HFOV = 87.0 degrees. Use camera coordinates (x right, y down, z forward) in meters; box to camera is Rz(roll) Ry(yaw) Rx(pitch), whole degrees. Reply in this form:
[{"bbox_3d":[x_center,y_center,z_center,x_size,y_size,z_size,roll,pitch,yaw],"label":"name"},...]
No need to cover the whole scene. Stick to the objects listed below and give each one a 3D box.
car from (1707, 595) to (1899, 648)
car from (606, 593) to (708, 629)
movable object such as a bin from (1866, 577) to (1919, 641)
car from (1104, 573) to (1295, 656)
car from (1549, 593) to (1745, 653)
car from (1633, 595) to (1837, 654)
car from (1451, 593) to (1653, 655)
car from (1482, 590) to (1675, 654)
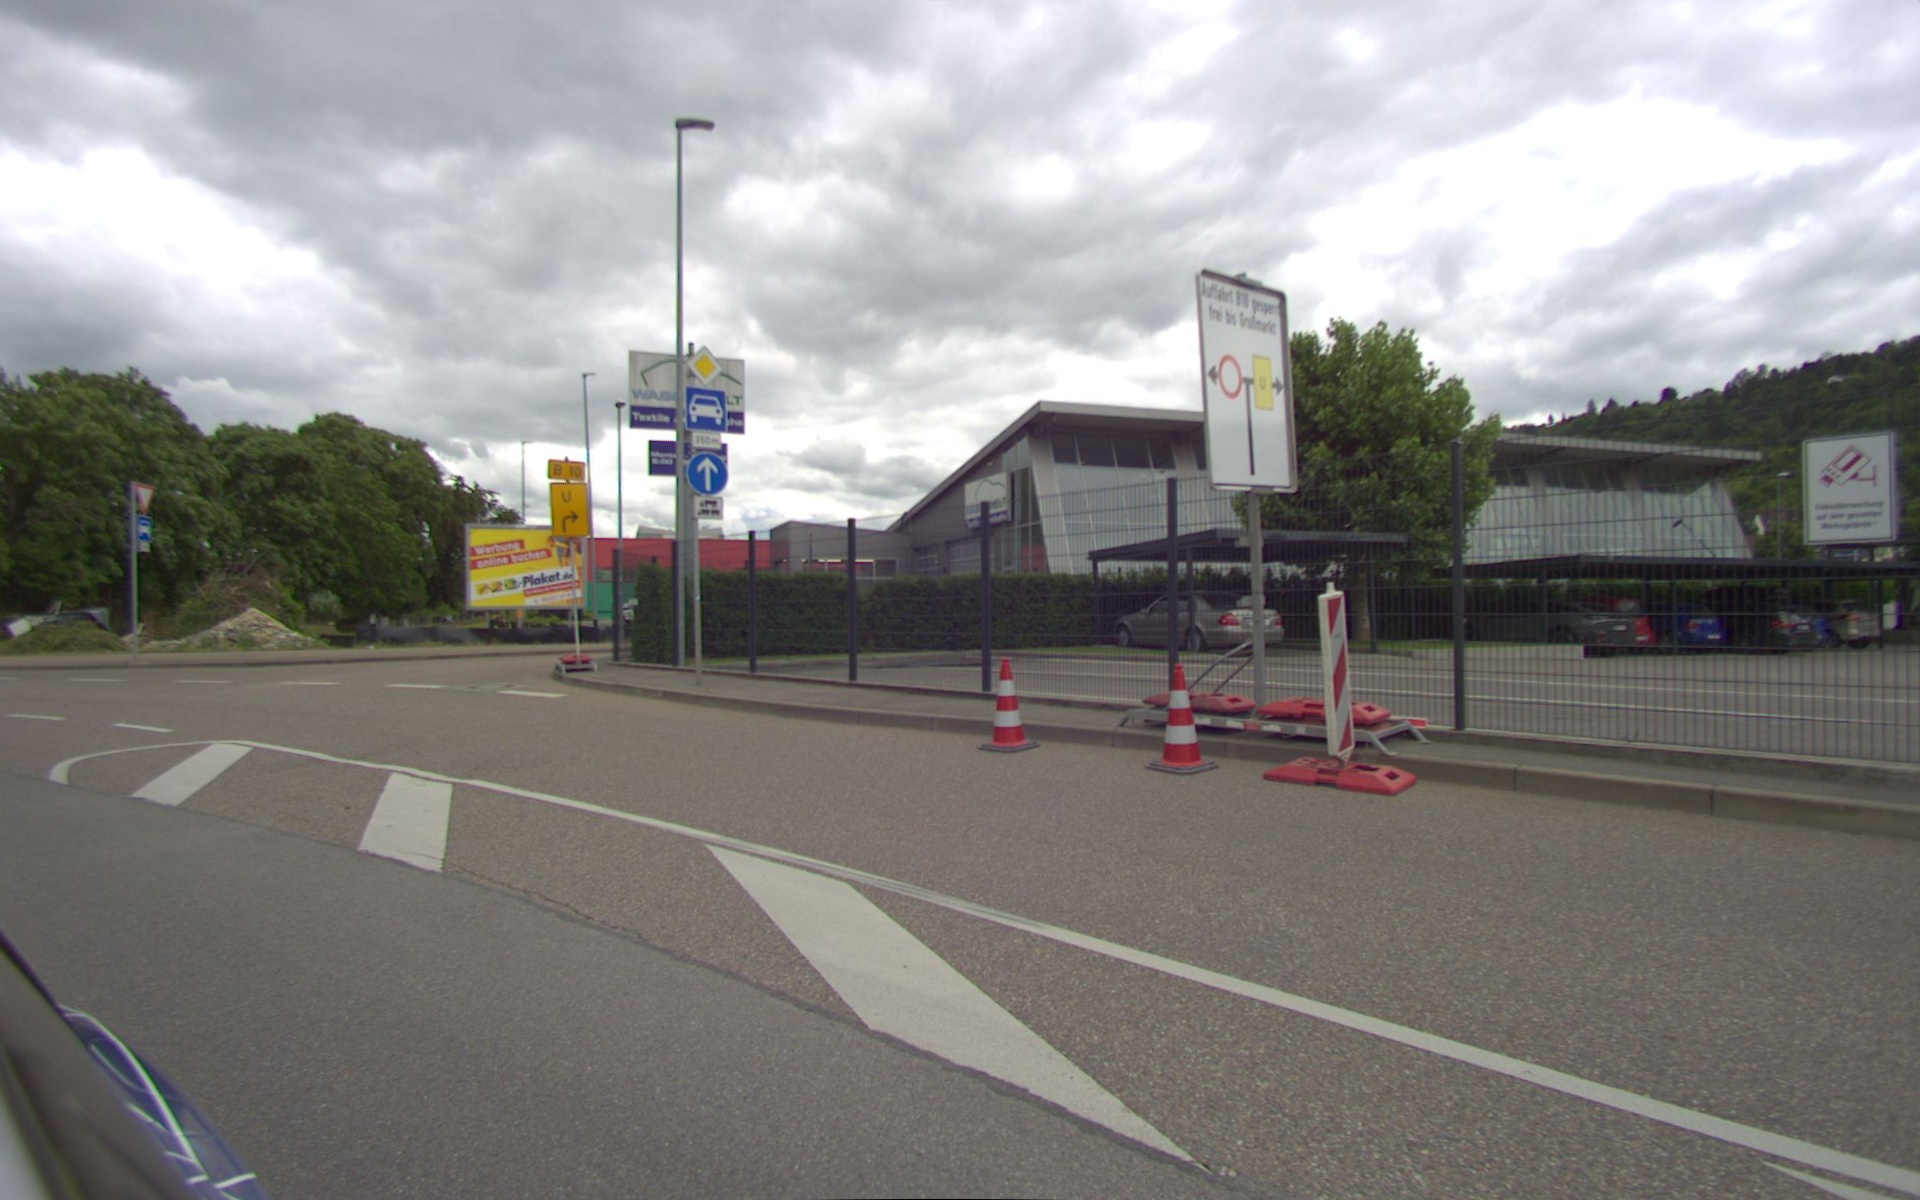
[{"bbox_3d":[26.631,0.638,32.158,1.933,1.570,4.261,0,0,-25],"label":"car"},{"bbox_3d":[-13.555,0.466,45.294,3.934,1.547,2.005,0,0,-36],"label":"car"},{"bbox_3d":[34.619,0.303,34.858,2.045,2.243,4.615,0,0,-25],"label":"movable object such as a bin"},{"bbox_3d":[5.329,0.309,23.081,2.038,1.682,4.261,0,0,-25],"label":"car"},{"bbox_3d":[19.608,0.621,29.102,1.933,1.570,4.261,0,0,-25],"label":"car"},{"bbox_3d":[22.309,0.655,29.325,1.933,1.570,4.261,0,0,-25],"label":"car"},{"bbox_3d":[15.549,0.600,26.830,1.933,1.503,4.261,0,0,-25],"label":"car"},{"bbox_3d":[17.256,0.577,28.455,1.933,1.660,4.261,0,0,-25],"label":"car"}]
